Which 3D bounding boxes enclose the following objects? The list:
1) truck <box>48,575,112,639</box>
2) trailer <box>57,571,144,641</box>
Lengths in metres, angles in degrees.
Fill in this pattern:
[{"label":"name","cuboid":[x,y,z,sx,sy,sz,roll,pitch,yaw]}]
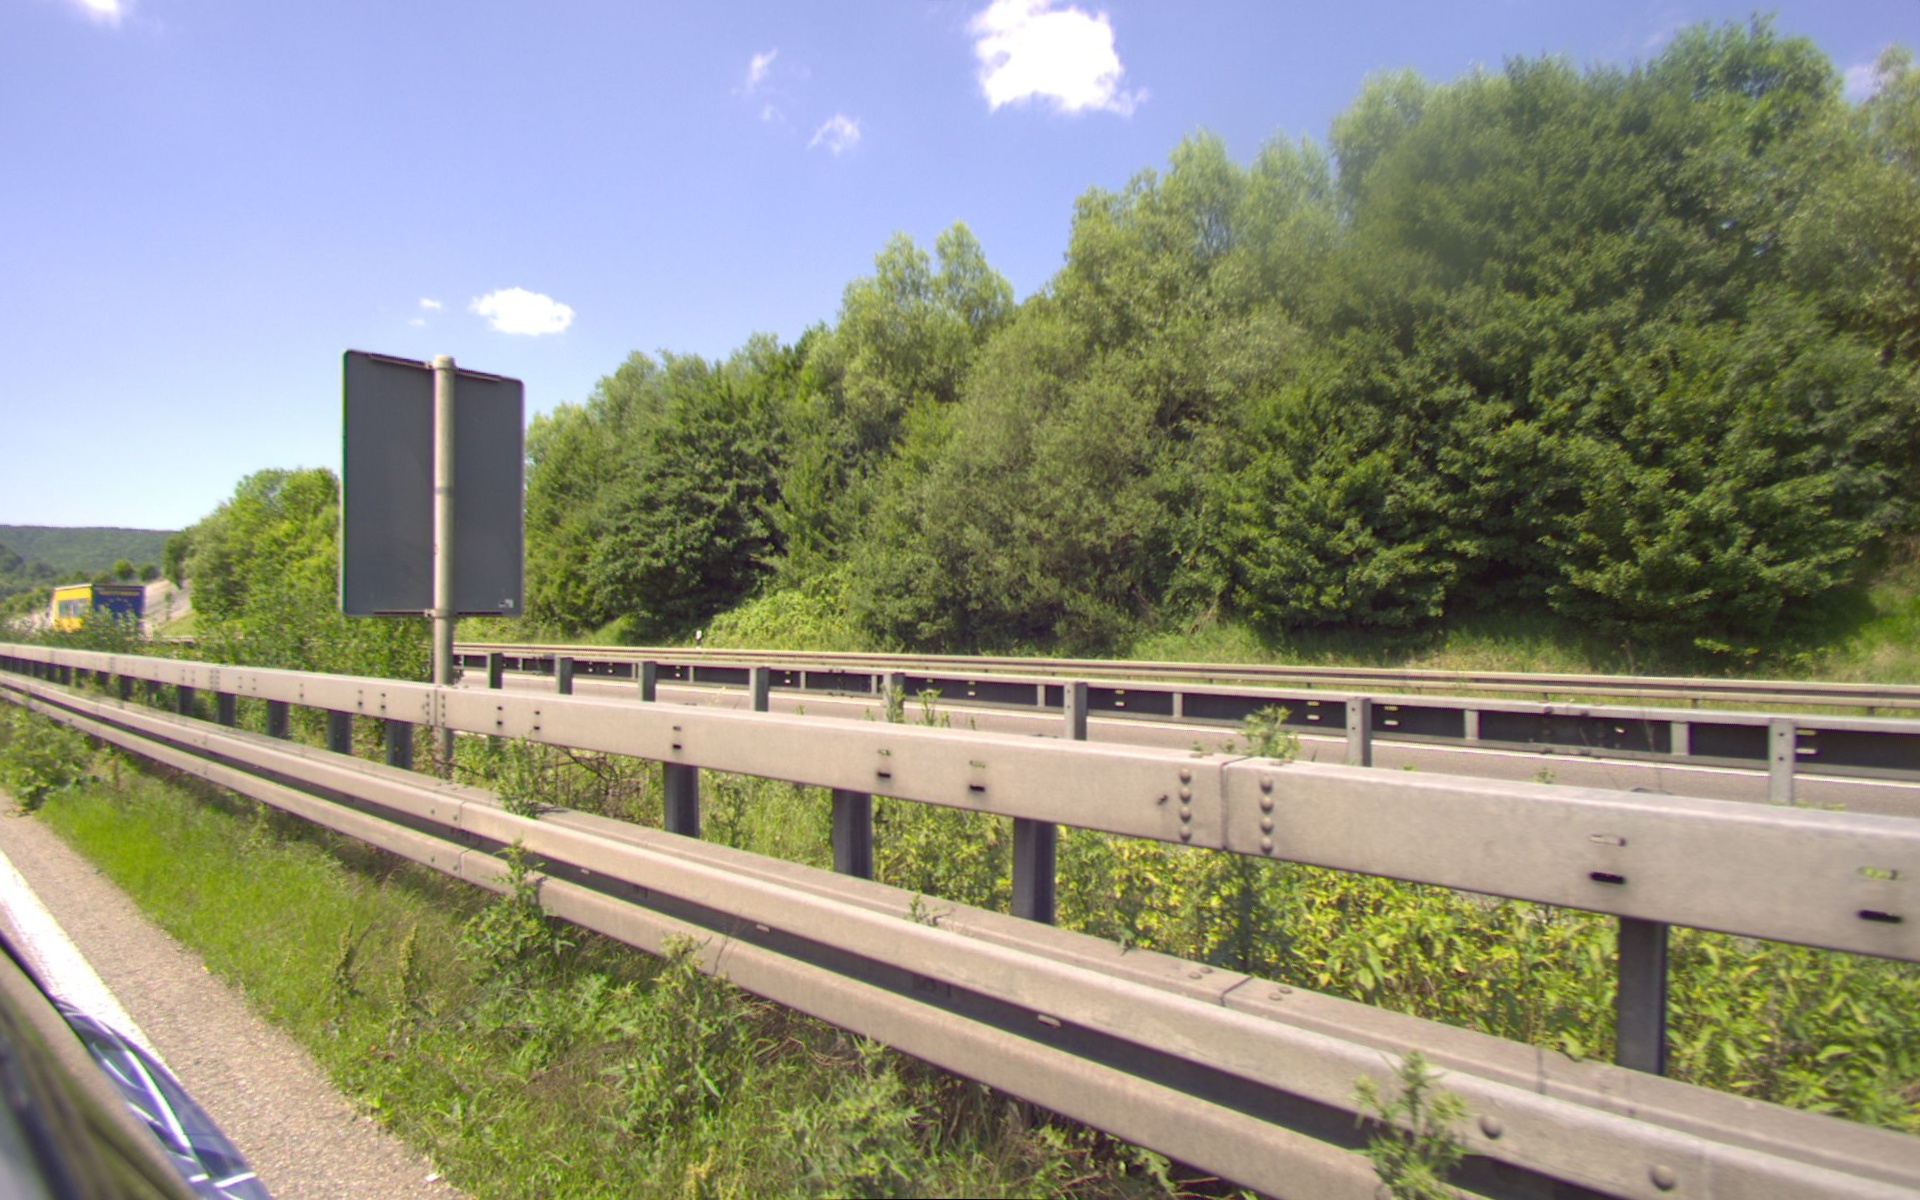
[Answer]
[{"label":"truck","cuboid":[-59.663,0.515,68.583,5.848,4.121,2.520,-2,-2,42]},{"label":"trailer","cuboid":[-54.362,0.469,63.836,12.597,4.035,2.553,-1,-1,42]}]
